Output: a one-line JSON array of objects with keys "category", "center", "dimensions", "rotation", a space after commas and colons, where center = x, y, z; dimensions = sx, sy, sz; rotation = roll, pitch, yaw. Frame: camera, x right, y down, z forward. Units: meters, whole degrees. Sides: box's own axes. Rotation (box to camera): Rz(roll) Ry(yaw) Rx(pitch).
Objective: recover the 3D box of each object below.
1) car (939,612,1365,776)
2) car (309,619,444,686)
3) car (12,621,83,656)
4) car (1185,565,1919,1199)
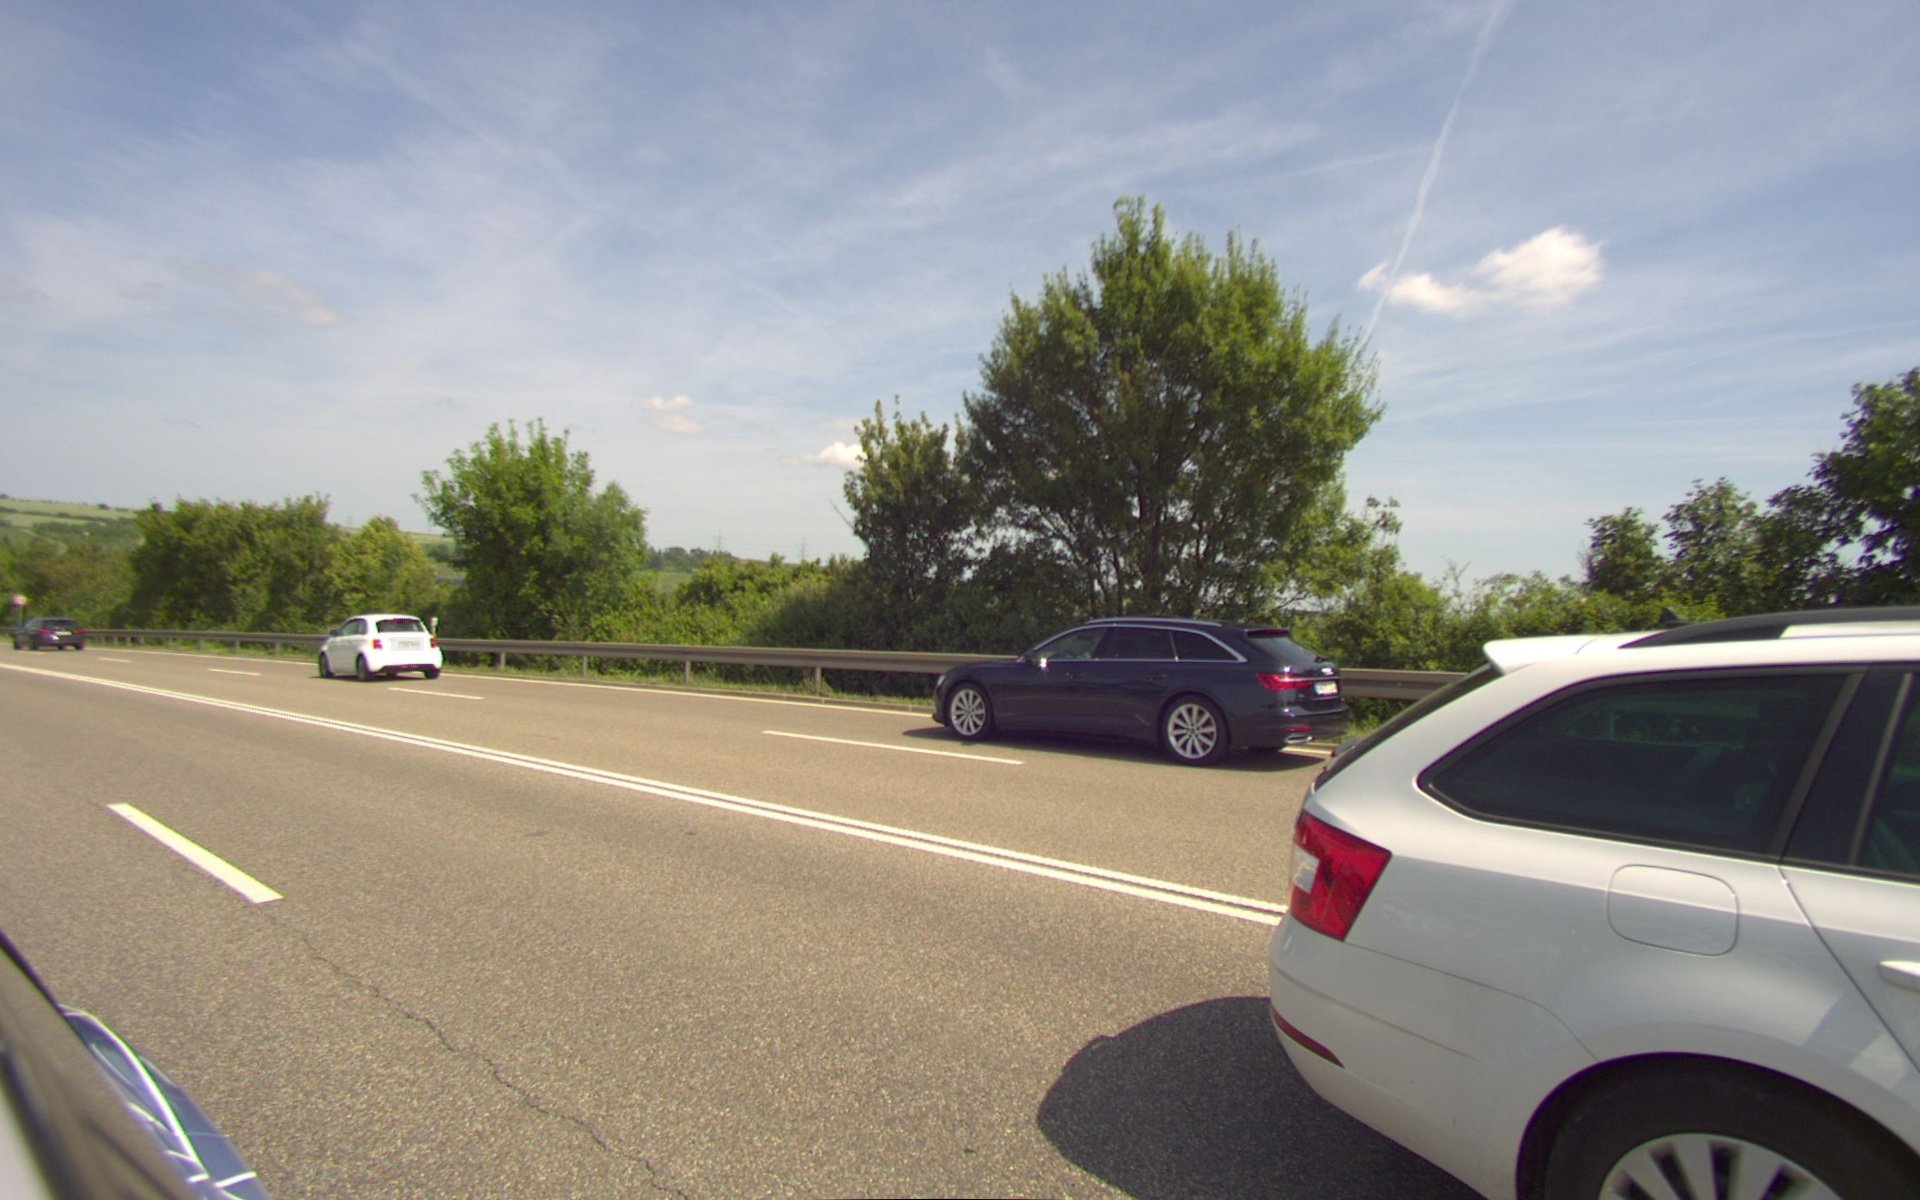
[{"category": "car", "center": [1.966, 0.895, 11.194], "dimensions": [4.324, 1.466, 1.817], "rotation": [-1, -2, 42]}, {"category": "car", "center": [-13.908, 1.198, 24.073], "dimensions": [3.732, 1.468, 1.640], "rotation": [-1, -2, 41]}, {"category": "car", "center": [-40.088, 1.659, 44.438], "dimensions": [4.211, 1.472, 1.701], "rotation": [-1, -2, 40]}, {"category": "car", "center": [2.926, 0.666, 1.497], "dimensions": [4.786, 1.483, 1.802], "rotation": [-2, -1, 41]}]
